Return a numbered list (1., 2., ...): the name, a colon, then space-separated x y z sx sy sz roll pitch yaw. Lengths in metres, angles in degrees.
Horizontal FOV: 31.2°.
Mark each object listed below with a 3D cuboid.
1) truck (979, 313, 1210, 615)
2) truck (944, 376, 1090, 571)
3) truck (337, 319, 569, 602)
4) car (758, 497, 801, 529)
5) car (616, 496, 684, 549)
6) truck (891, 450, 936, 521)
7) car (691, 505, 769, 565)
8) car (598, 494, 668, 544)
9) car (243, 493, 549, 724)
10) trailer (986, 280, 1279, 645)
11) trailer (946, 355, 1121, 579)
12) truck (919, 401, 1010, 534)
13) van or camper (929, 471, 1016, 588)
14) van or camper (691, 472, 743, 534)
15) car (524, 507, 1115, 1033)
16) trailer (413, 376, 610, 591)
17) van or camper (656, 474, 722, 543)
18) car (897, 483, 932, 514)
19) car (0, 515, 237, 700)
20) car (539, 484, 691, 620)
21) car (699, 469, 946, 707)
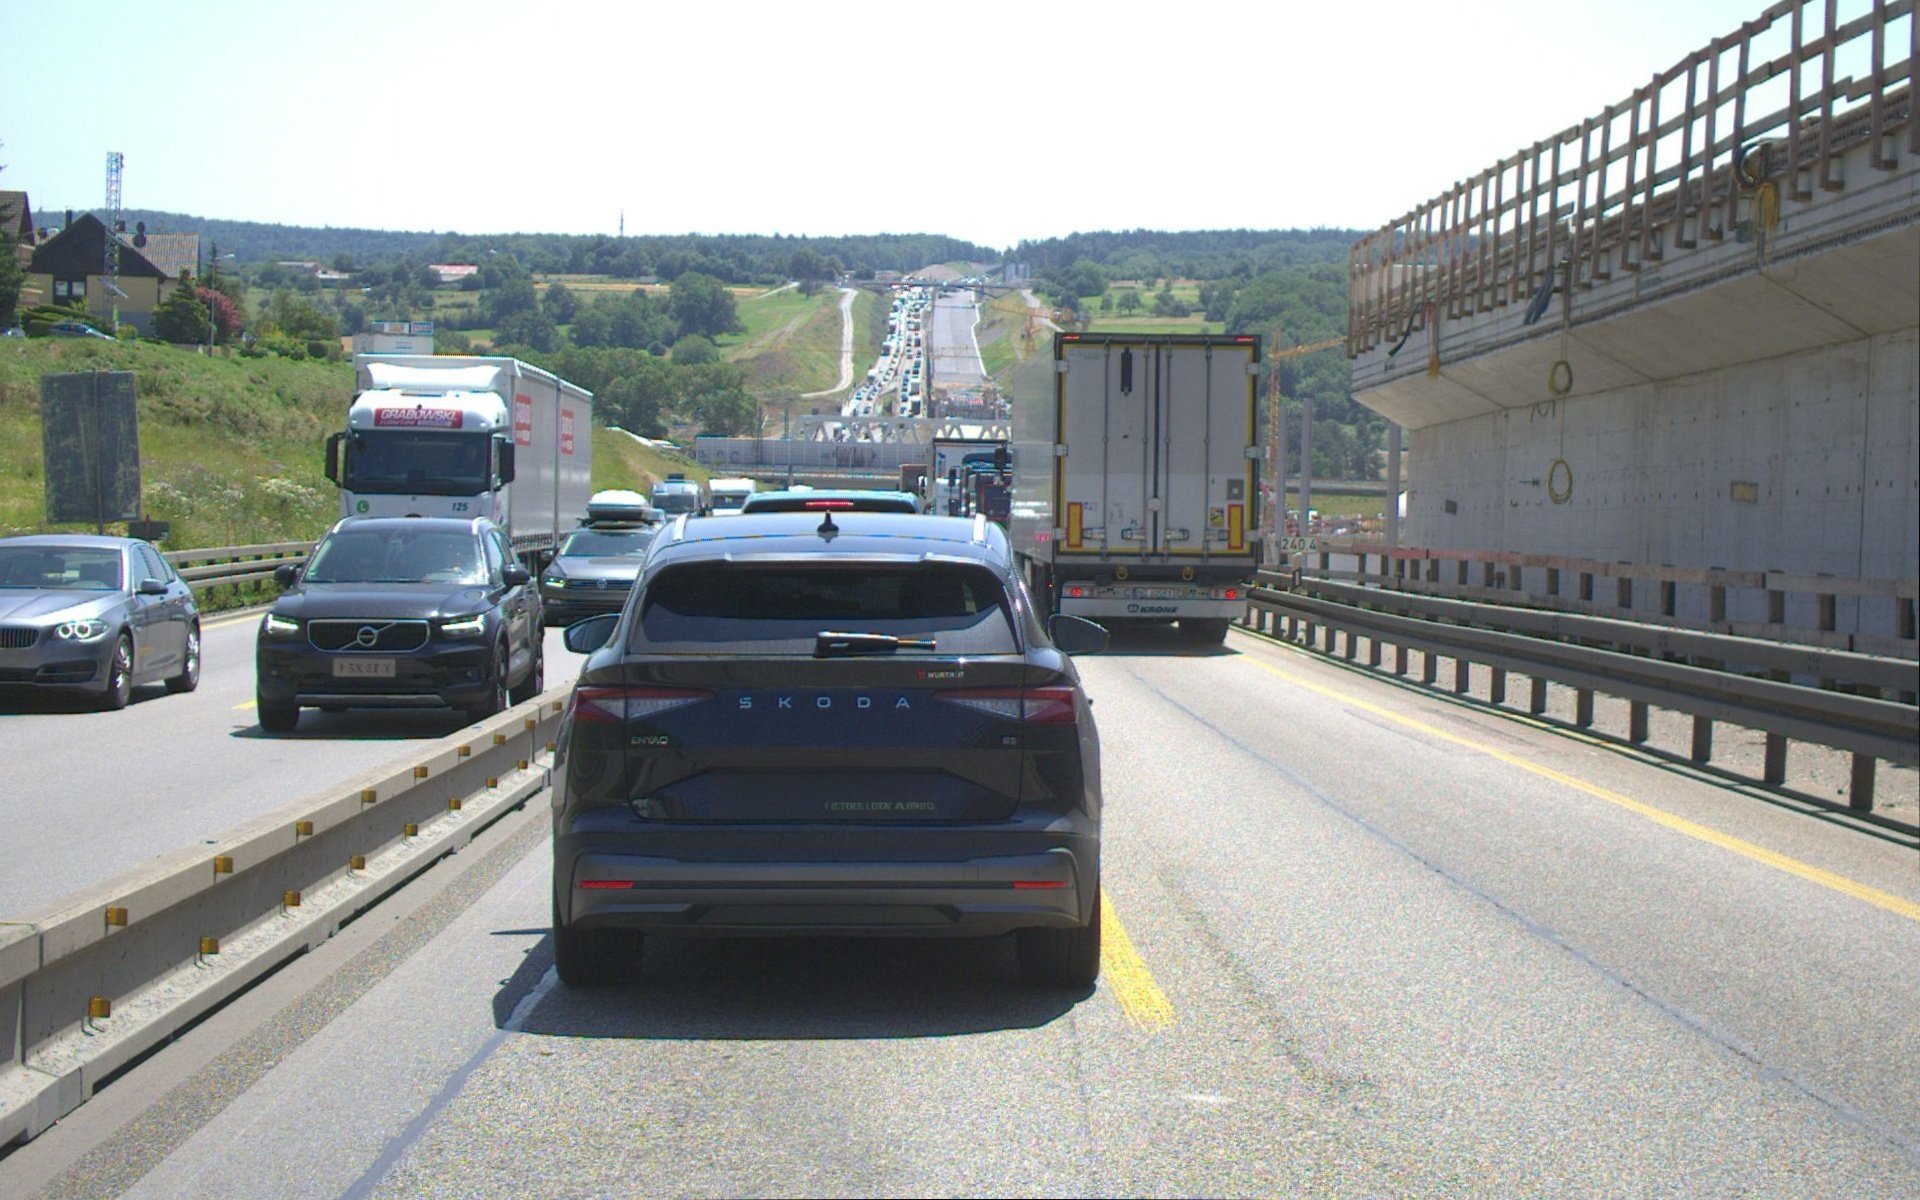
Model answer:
1. truck: 2.040 -2.184 55.771 3.180 4.497 8.167 1 2 -1
2. truck: 1.318 -2.976 84.013 3.180 4.497 8.166 1 1 -1
3. truck: -8.521 -2.284 58.984 2.620 4.381 10.386 1 1 -1
4. car: -8.419 -4.075 160.688 1.842 1.470 4.835 1 2 -1
5. car: -9.644 -2.414 107.172 1.773 1.576 4.286 2 1 -1
6. truck: -2.932 -7.067 214.448 2.639 4.179 9.285 1 1 -1
7. car: -5.830 -1.664 87.385 1.802 1.459 4.001 1 1 -1
8. car: -10.180 -2.513 107.167 1.993 1.469 4.001 1 1 -3
9. car: -4.401 0.022 27.376 1.870 1.678 4.000 1 1 -2
10. trailer: 2.194 -1.940 49.282 3.180 4.497 13.110 1 2 -1
11. trailer: 1.460 -2.765 77.054 3.180 4.497 14.968 1 1 -1
12. truck: 0.082 -4.718 125.257 2.852 4.449 11.919 1 1 -2
13. van or camper: 0.393 -2.015 99.902 2.389 3.269 6.469 1 0 1
14. van or camper: -12.431 -4.975 176.517 2.291 3.056 6.925 1 2 -1
15. car: -0.457 0.485 12.596 1.802 1.602 4.000 1 1 -1
16. trailer: -8.822 -2.270 68.555 2.929 3.975 8.707 1 1 -1
17. van or camper: -10.424 -3.534 132.473 2.140 2.564 6.565 1 2 -1
18. car: -2.421 -5.414 183.934 1.813 1.596 4.574 1 2 -1
19. car: -8.011 0.030 30.779 1.993 1.503 5.301 1 1 -1
20. car: -5.035 -0.731 50.612 1.849 1.883 4.502 1 1 -1
21. car: -1.189 -0.124 30.386 1.993 1.919 4.508 1 1 -2
